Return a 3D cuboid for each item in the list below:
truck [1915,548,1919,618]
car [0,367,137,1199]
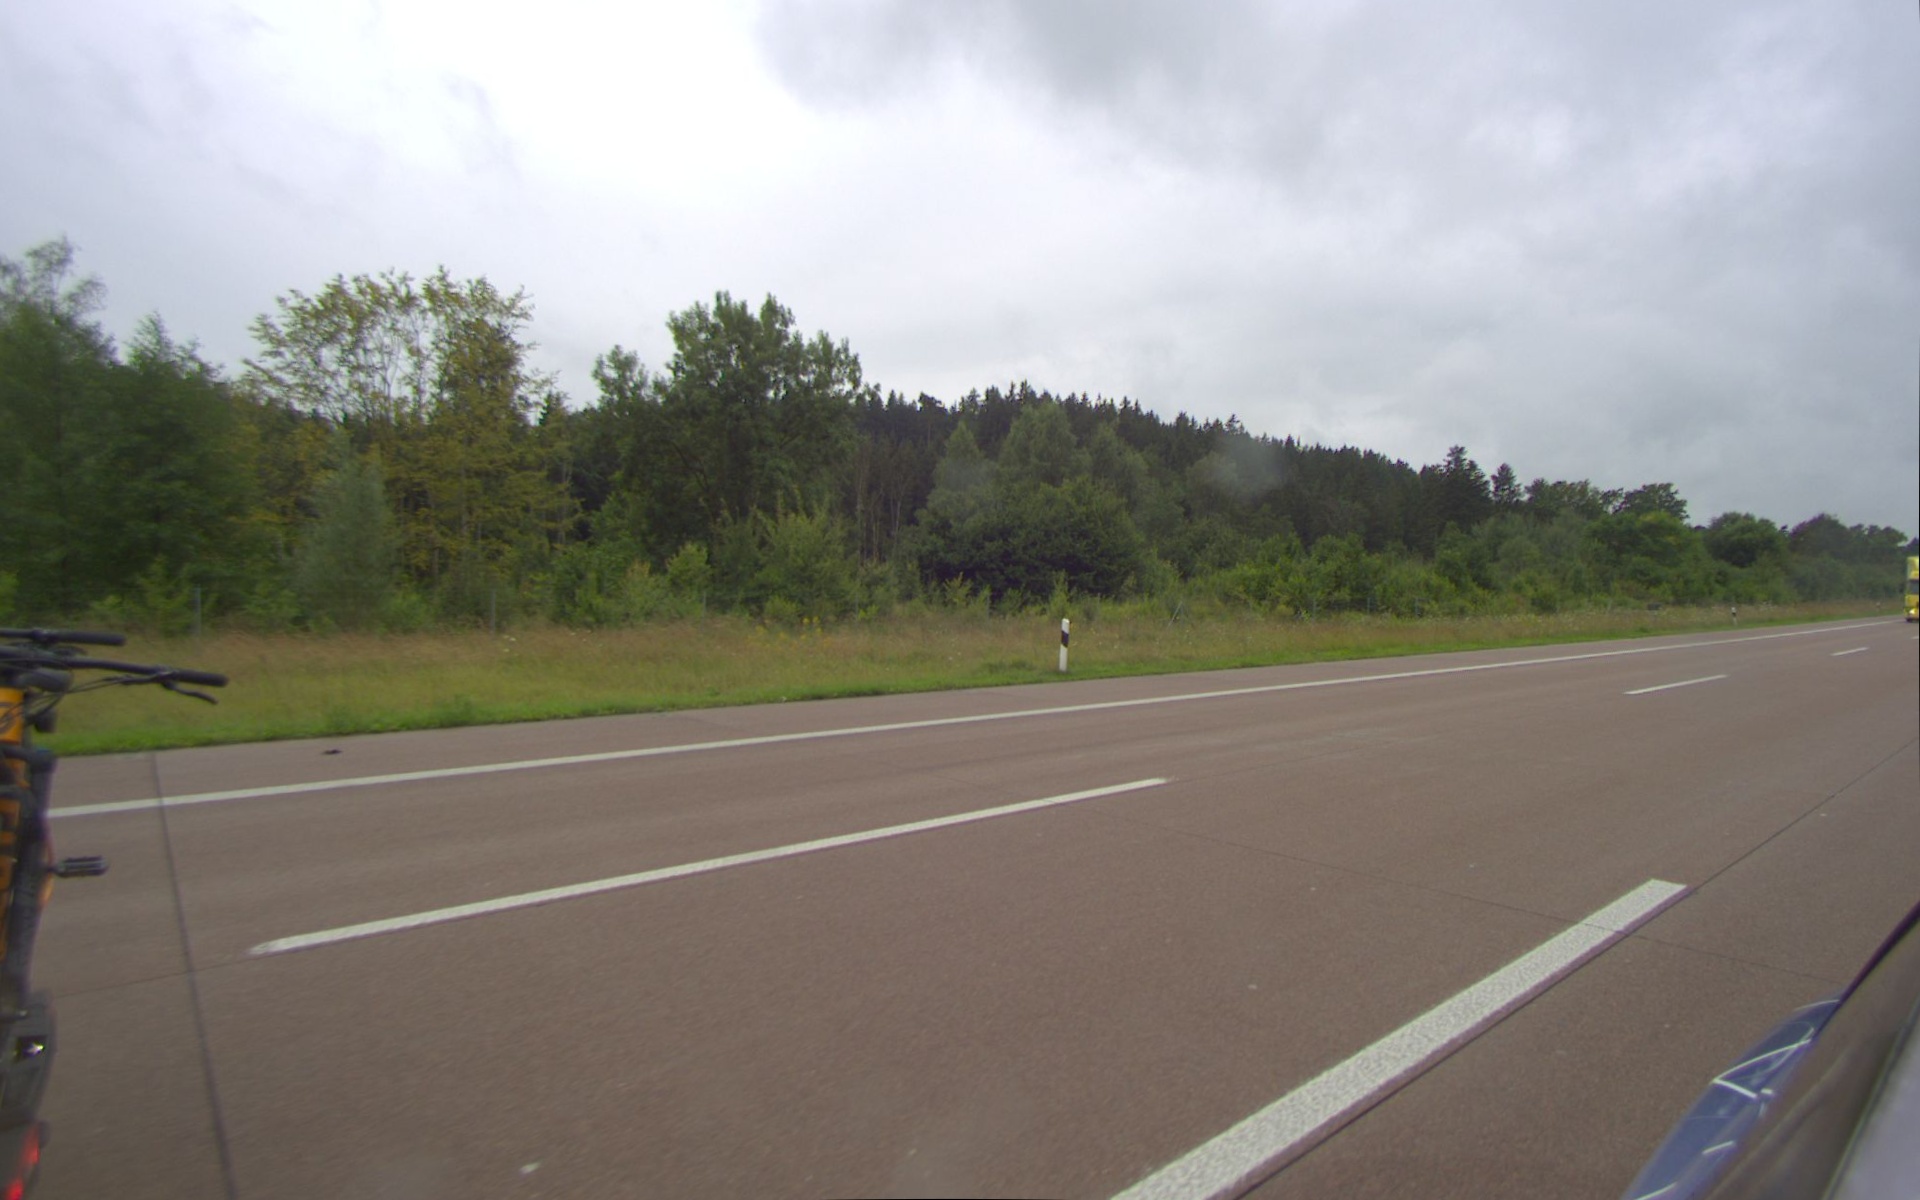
[{"bbox_3d":[61.454,-1.097,62.651,6.139,4.267,2.609,-2,1,-39],"label":"truck"},{"bbox_3d":[-4.123,0.522,0.512,5.718,1.612,1.997,-2,1,-41],"label":"car"}]
